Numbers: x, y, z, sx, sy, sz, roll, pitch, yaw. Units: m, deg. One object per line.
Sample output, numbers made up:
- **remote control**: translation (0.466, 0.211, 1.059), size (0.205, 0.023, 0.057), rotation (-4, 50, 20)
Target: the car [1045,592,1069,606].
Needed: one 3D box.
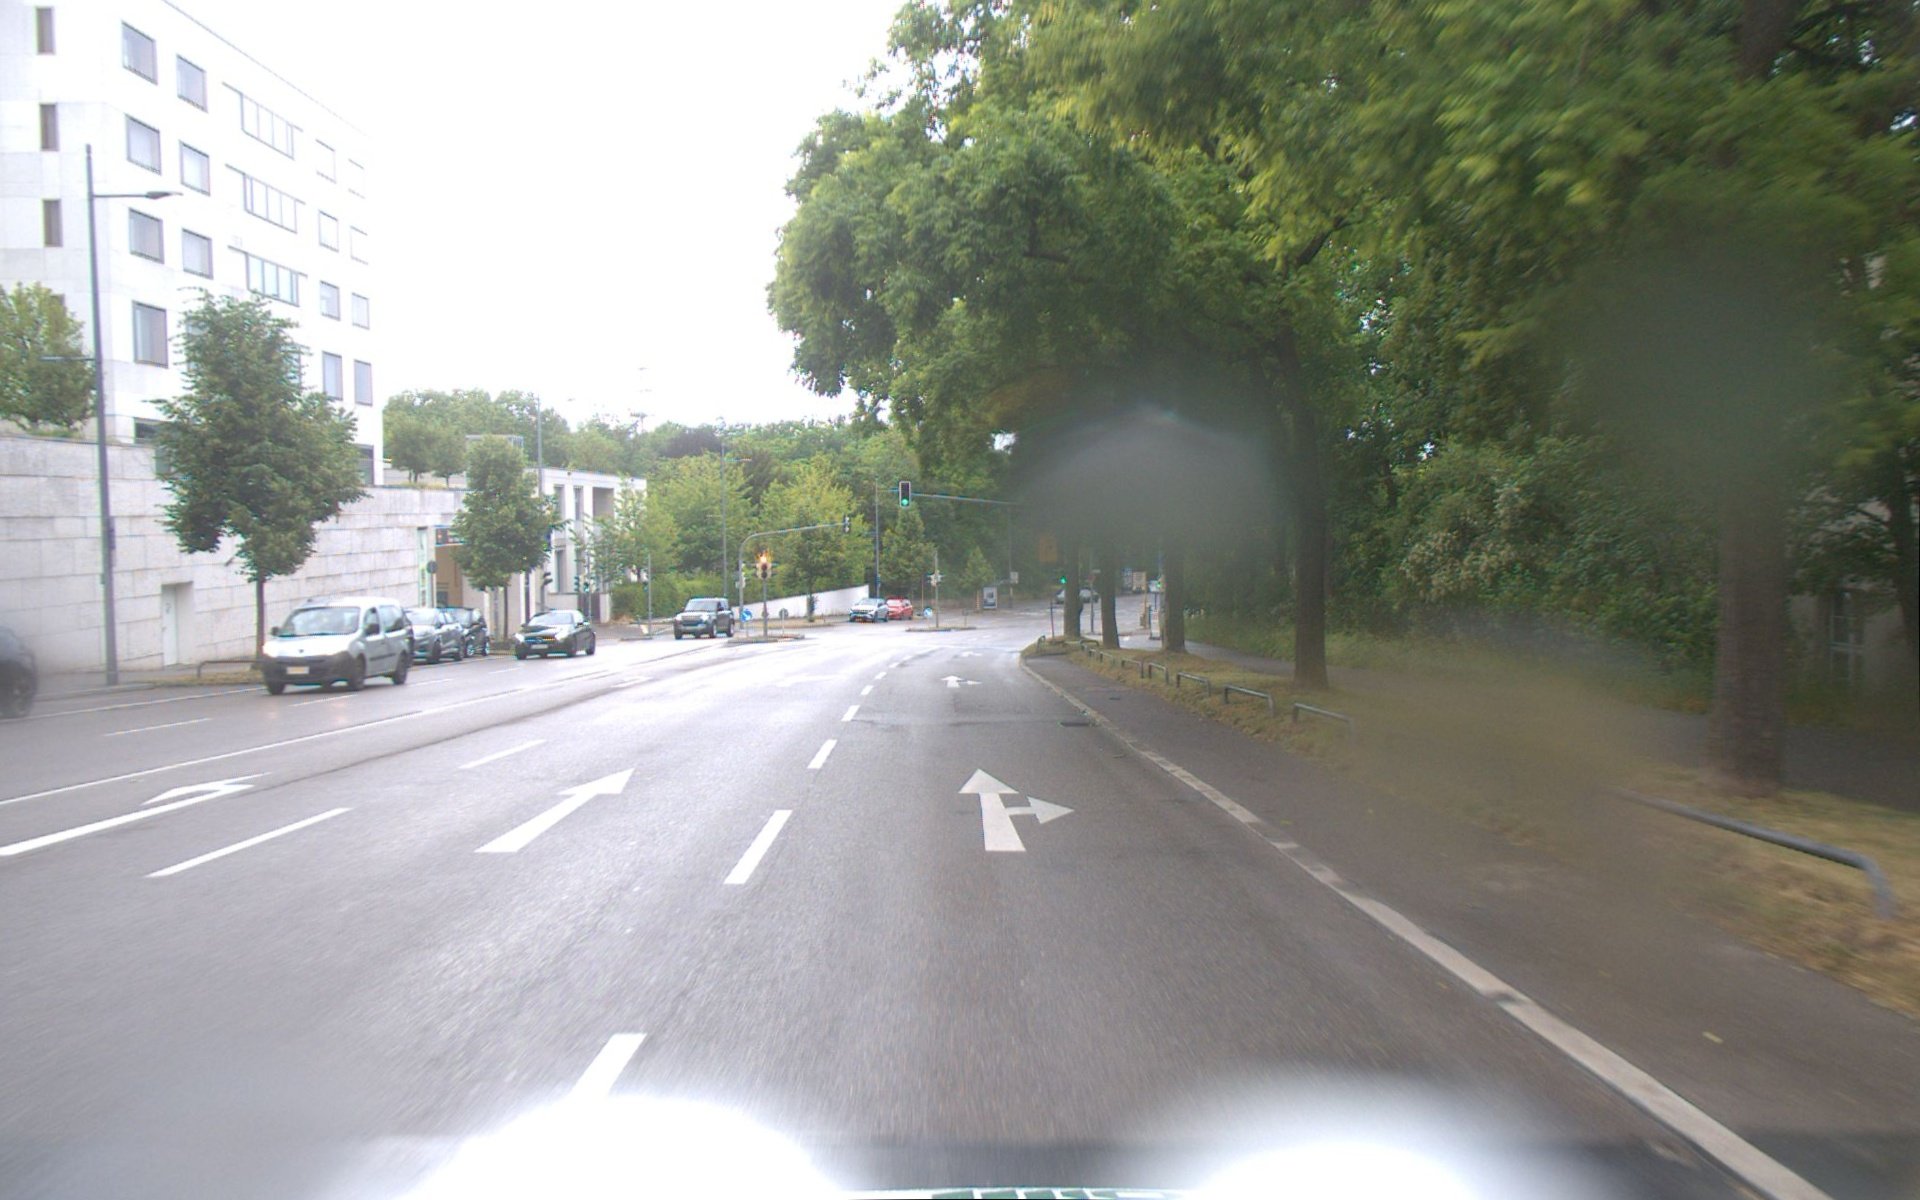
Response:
- **car**: translation (10.436, -0.114, 177.144), size (1.677, 1.486, 3.752), rotation (1, -1, 17)

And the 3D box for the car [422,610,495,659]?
- **car**: translation (-16.195, 1.100, 53.526), size (1.477, 1.541, 2.980), rotation (1, -1, -1)

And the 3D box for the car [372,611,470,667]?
- **car**: translation (-15.420, 1.085, 47.502), size (1.645, 1.541, 3.709), rotation (1, 0, -1)

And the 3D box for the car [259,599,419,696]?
- **car**: translation (-12.287, 0.887, 33.017), size (1.675, 1.777, 4.336), rotation (-1, 0, -2)

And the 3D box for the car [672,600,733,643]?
- **car**: translation (-12.384, 1.002, 79.870), size (1.880, 1.889, 4.508), rotation (-4, 0, 4)

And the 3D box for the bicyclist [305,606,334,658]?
- **bicyclist**: translation (-19.097, 0.953, 49.301), size (0.565, 1.544, 0.769), rotation (-1, -1, -2)

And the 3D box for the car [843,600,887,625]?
- **car**: translation (-6.753, 0.862, 117.703), size (1.814, 1.668, 4.096), rotation (3, 1, 16)

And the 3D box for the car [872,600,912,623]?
- **car**: translation (-5.097, 0.877, 124.818), size (1.835, 1.602, 4.226), rotation (2, 0, 14)

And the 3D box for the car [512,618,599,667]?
- **car**: translation (-12.639, 1.307, 51.869), size (1.734, 1.405, 4.189), rotation (-2, 0, -1)

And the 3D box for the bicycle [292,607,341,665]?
- **bicycle**: translation (-19.168, 1.064, 49.278), size (0.727, 1.686, 1.880), rotation (0, -1, -1)

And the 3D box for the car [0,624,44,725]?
- **car**: translation (-14.746, 1.071, 23.146), size (1.645, 1.451, 3.964), rotation (1, 0, 0)
